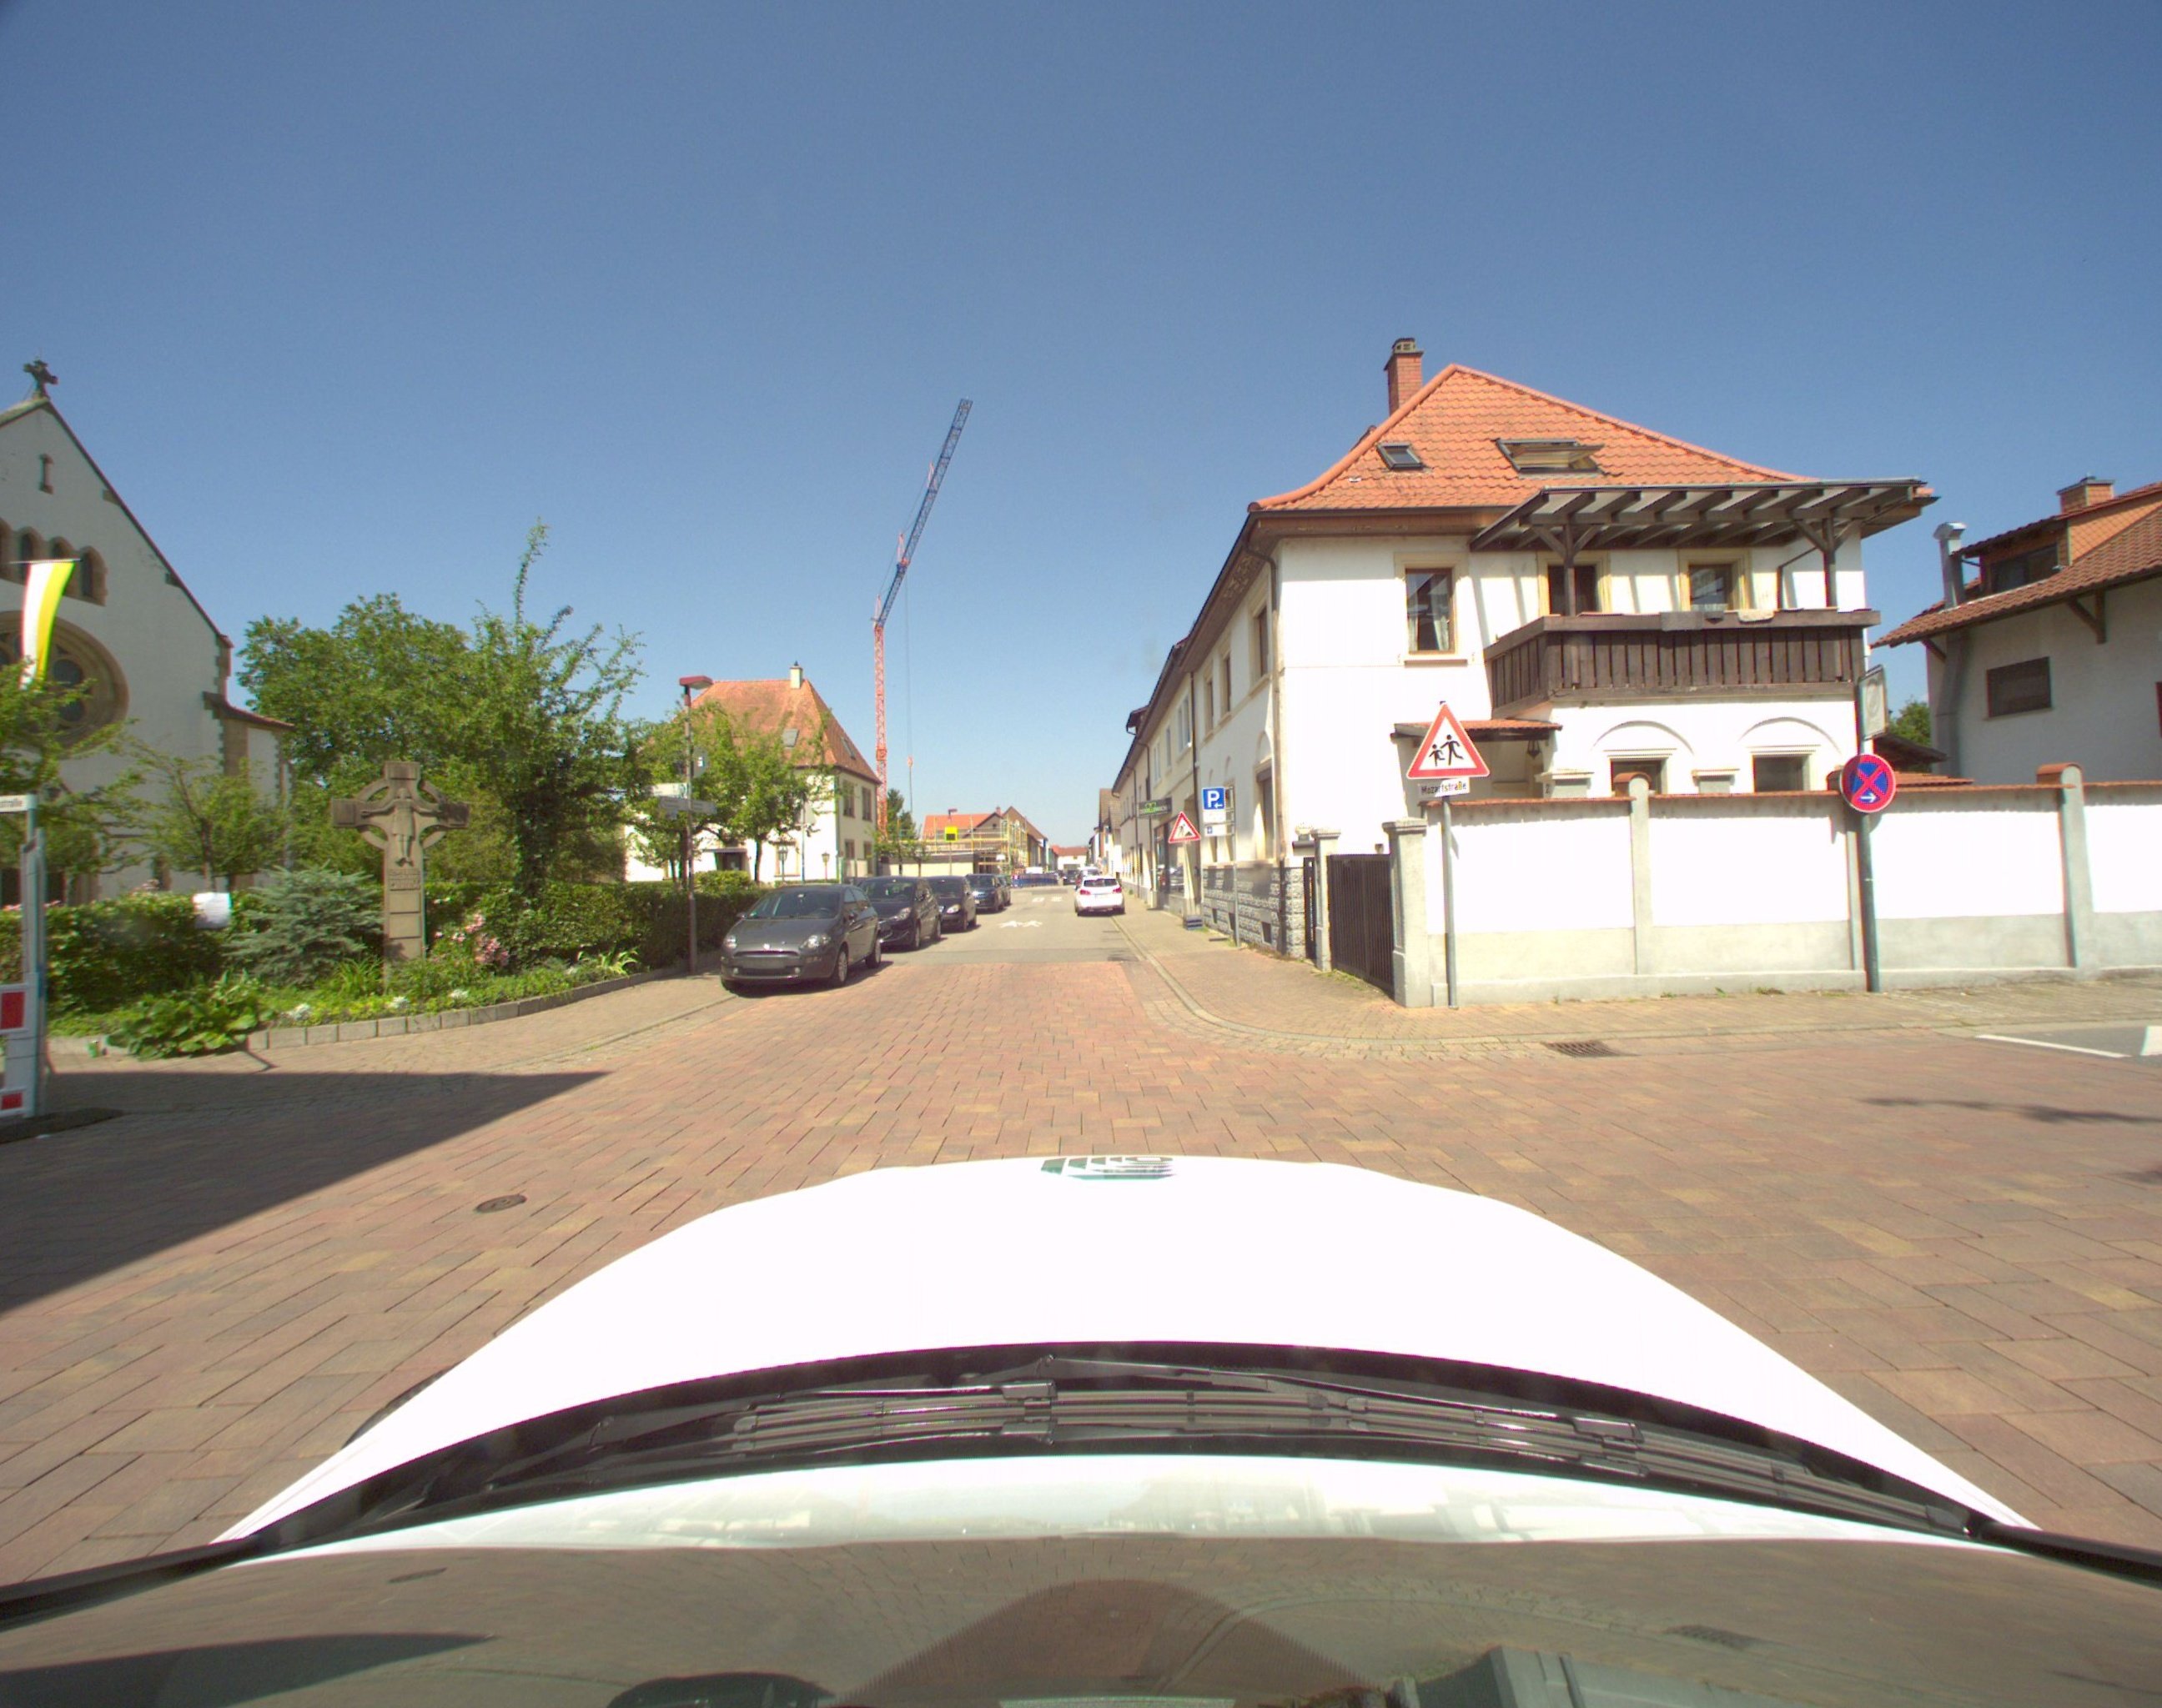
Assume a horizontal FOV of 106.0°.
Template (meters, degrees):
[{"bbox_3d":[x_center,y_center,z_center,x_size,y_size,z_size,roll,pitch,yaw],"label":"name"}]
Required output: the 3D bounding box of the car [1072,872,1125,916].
[{"bbox_3d":[0.704,1.502,31.541,1.879,1.542,4.244,-2,-1,2],"label":"car"}]

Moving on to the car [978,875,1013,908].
[{"bbox_3d":[-4.214,1.835,40.554,1.432,1.474,3.783,-2,-1,-2],"label":"car"}]

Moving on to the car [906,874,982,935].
[{"bbox_3d":[-4.019,1.435,24.354,1.633,1.629,3.766,-2,-1,-1],"label":"car"}]

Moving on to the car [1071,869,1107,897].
[{"bbox_3d":[0.478,1.791,51.363,1.880,1.556,3.889,-5,-1,-3],"label":"car"}]

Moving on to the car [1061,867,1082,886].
[{"bbox_3d":[-0.910,2.073,75.780,1.876,1.668,4.151,-1,-1,-1],"label":"car"}]

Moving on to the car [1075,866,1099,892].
[{"bbox_3d":[0.365,1.722,56.539,1.559,1.613,3.541,-2,1,-1],"label":"car"}]

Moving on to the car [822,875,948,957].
[{"bbox_3d":[-4.341,1.328,18.679,1.809,1.605,4.024,-2,-1,1],"label":"car"}]

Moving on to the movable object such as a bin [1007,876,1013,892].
[{"bbox_3d":[-5.250,2.245,60.256,0.431,1.155,0.363,-1,-1,-10],"label":"movable object such as a bin"}]

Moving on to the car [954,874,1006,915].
[{"bbox_3d":[-4.295,1.694,35.127,1.821,1.630,4.213,-2,-1,-2],"label":"car"}]

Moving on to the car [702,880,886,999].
[{"bbox_3d":[-4.282,1.196,12.794,1.699,1.497,3.851,-2,-1,-4],"label":"car"}]
